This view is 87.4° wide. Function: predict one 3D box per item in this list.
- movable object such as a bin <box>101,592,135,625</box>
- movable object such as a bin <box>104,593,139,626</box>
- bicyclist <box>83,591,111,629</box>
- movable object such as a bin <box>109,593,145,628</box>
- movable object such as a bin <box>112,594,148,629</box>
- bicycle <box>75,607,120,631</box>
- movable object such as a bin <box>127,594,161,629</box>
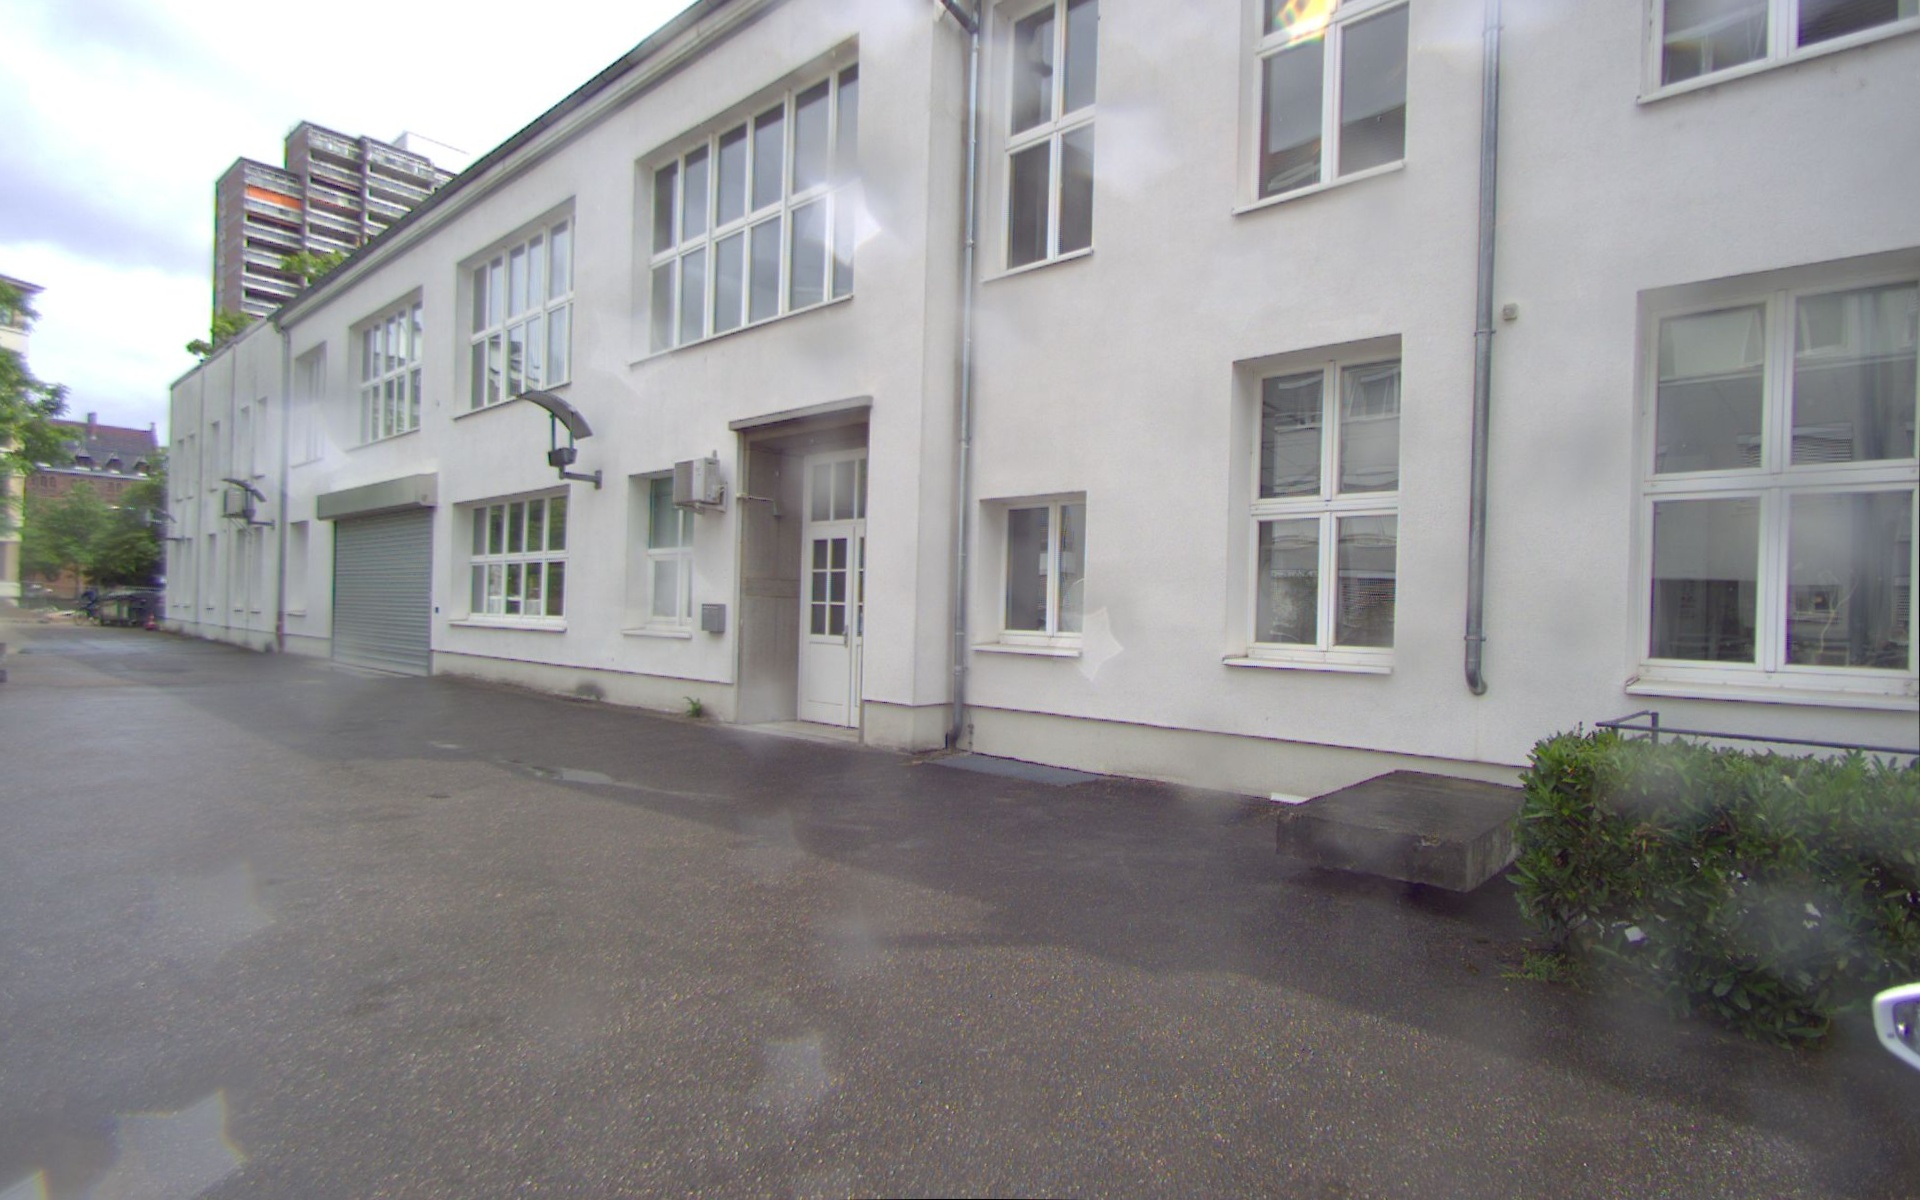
[{"bbox_3d":[-36.512,0.367,43.550,1.059,1.374,1.248,1,0,-44],"label":"movable object such as a bin"},{"bbox_3d":[-35.556,0.396,42.590,1.059,1.374,1.248,1,0,-44],"label":"movable object such as a bin"},{"bbox_3d":[-39.755,0.445,46.266,0.580,1.701,0.759,2,0,2],"label":"bicyclist"},{"bbox_3d":[-34.432,0.429,41.511,1.056,1.374,1.202,1,0,-44],"label":"movable object such as a bin"},{"bbox_3d":[-33.533,0.456,40.584,1.039,1.374,1.192,1,0,-44],"label":"movable object such as a bin"},{"bbox_3d":[-39.769,0.866,46.324,0.532,1.052,1.713,2,0,2],"label":"bicycle"},{"bbox_3d":[-32.118,0.451,39.531,0.972,1.374,0.907,1,0,-44],"label":"movable object such as a bin"}]
